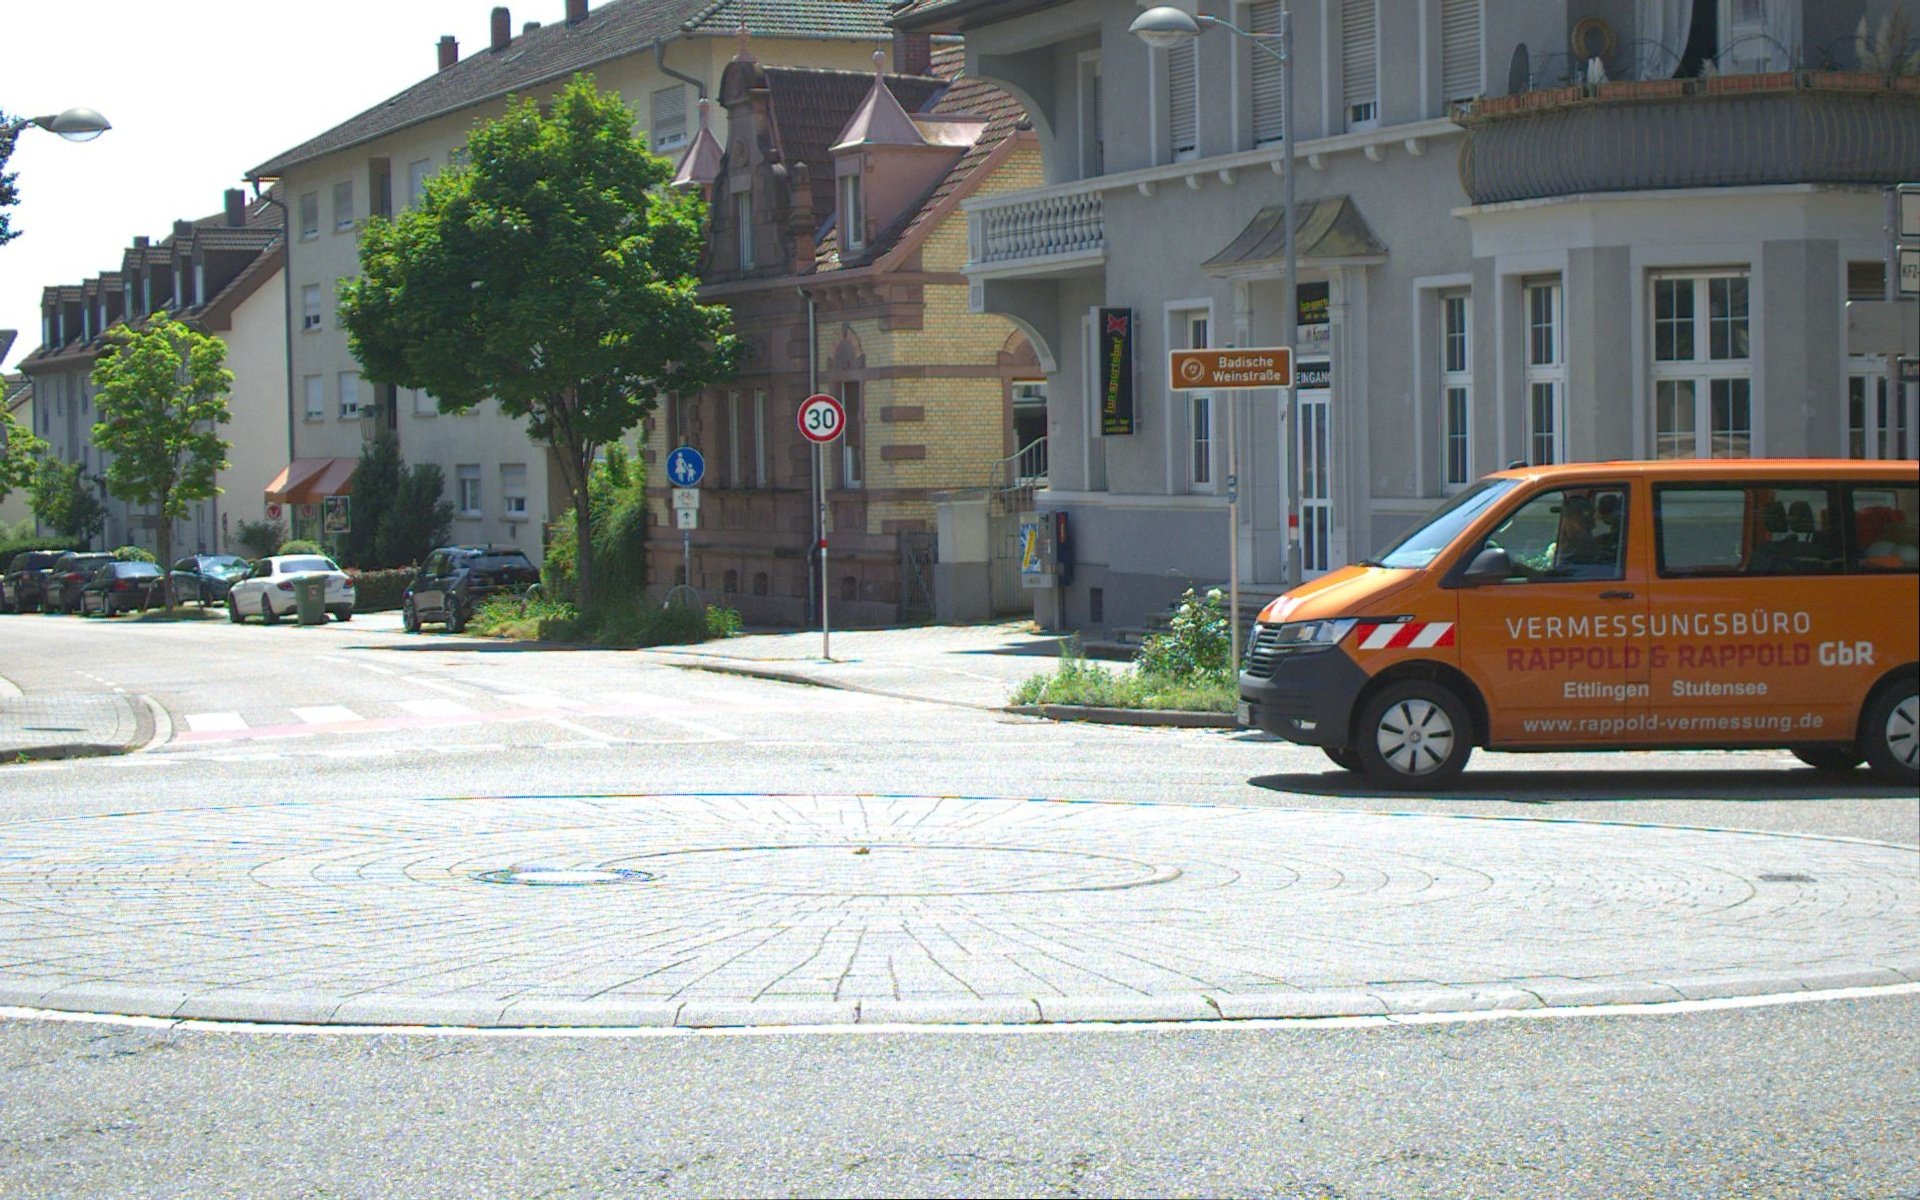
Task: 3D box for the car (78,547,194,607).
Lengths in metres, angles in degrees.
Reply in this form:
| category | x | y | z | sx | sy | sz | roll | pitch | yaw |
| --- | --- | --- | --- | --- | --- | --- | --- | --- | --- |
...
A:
| category | x | y | z | sx | sy | sz | roll | pitch | yaw |
| --- | --- | --- | --- | --- | --- | --- | --- | --- | --- |
| car | -21.408 | -0.624 | 89.207 | 1.993 | 1.504 | 4.420 | -1 | 1 | -26 |

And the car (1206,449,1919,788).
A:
| category | x | y | z | sx | sy | sz | roll | pitch | yaw |
| --- | --- | --- | --- | --- | --- | --- | --- | --- | --- |
| car | 4.124 | 0.086 | 20.935 | 5.004 | 1.952 | 1.950 | 0 | 2 | -4 |

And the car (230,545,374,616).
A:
| category | x | y | z | sx | sy | sz | roll | pitch | yaw |
| --- | --- | --- | --- | --- | --- | --- | --- | --- | --- |
| car | -14.478 | -0.453 | 75.505 | 1.993 | 1.504 | 4.420 | -1 | 1 | -26 |

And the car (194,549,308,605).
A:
| category | x | y | z | sx | sy | sz | roll | pitch | yaw |
| --- | --- | --- | --- | --- | --- | --- | --- | --- | --- |
| car | -19.484 | -0.650 | 94.335 | 1.993 | 1.504 | 4.420 | -1 | 1 | -26 |

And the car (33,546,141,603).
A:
| category | x | y | z | sx | sy | sz | roll | pitch | yaw |
| --- | --- | --- | --- | --- | --- | --- | --- | --- | --- |
| car | -24.063 | -0.720 | 94.699 | 1.993 | 1.504 | 4.420 | -1 | 1 | -26 |

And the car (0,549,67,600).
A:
| category | x | y | z | sx | sy | sz | roll | pitch | yaw |
| --- | --- | --- | --- | --- | --- | --- | --- | --- | --- |
| car | -28.449 | -0.792 | 103.865 | 1.993 | 1.504 | 4.420 | -1 | 1 | -26 |

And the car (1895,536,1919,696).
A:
| category | x | y | z | sx | sy | sz | roll | pitch | yaw |
| --- | --- | --- | --- | --- | --- | --- | --- | --- | --- |
| car | 10.278 | 0.161 | 30.374 | 1.718 | 1.455 | 3.793 | -1 | 1 | -30 |

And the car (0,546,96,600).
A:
| category | x | y | z | sx | sy | sz | roll | pitch | yaw |
| --- | --- | --- | --- | --- | --- | --- | --- | --- | --- |
| car | -26.473 | -0.803 | 99.426 | 1.993 | 1.504 | 4.420 | -1 | 1 | -26 |

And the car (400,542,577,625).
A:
| category | x | y | z | sx | sy | sz | roll | pitch | yaw |
| --- | --- | --- | --- | --- | --- | --- | --- | --- | --- |
| car | -8.928 | -0.341 | 64.790 | 1.993 | 1.504 | 4.420 | -1 | 1 | -26 |
